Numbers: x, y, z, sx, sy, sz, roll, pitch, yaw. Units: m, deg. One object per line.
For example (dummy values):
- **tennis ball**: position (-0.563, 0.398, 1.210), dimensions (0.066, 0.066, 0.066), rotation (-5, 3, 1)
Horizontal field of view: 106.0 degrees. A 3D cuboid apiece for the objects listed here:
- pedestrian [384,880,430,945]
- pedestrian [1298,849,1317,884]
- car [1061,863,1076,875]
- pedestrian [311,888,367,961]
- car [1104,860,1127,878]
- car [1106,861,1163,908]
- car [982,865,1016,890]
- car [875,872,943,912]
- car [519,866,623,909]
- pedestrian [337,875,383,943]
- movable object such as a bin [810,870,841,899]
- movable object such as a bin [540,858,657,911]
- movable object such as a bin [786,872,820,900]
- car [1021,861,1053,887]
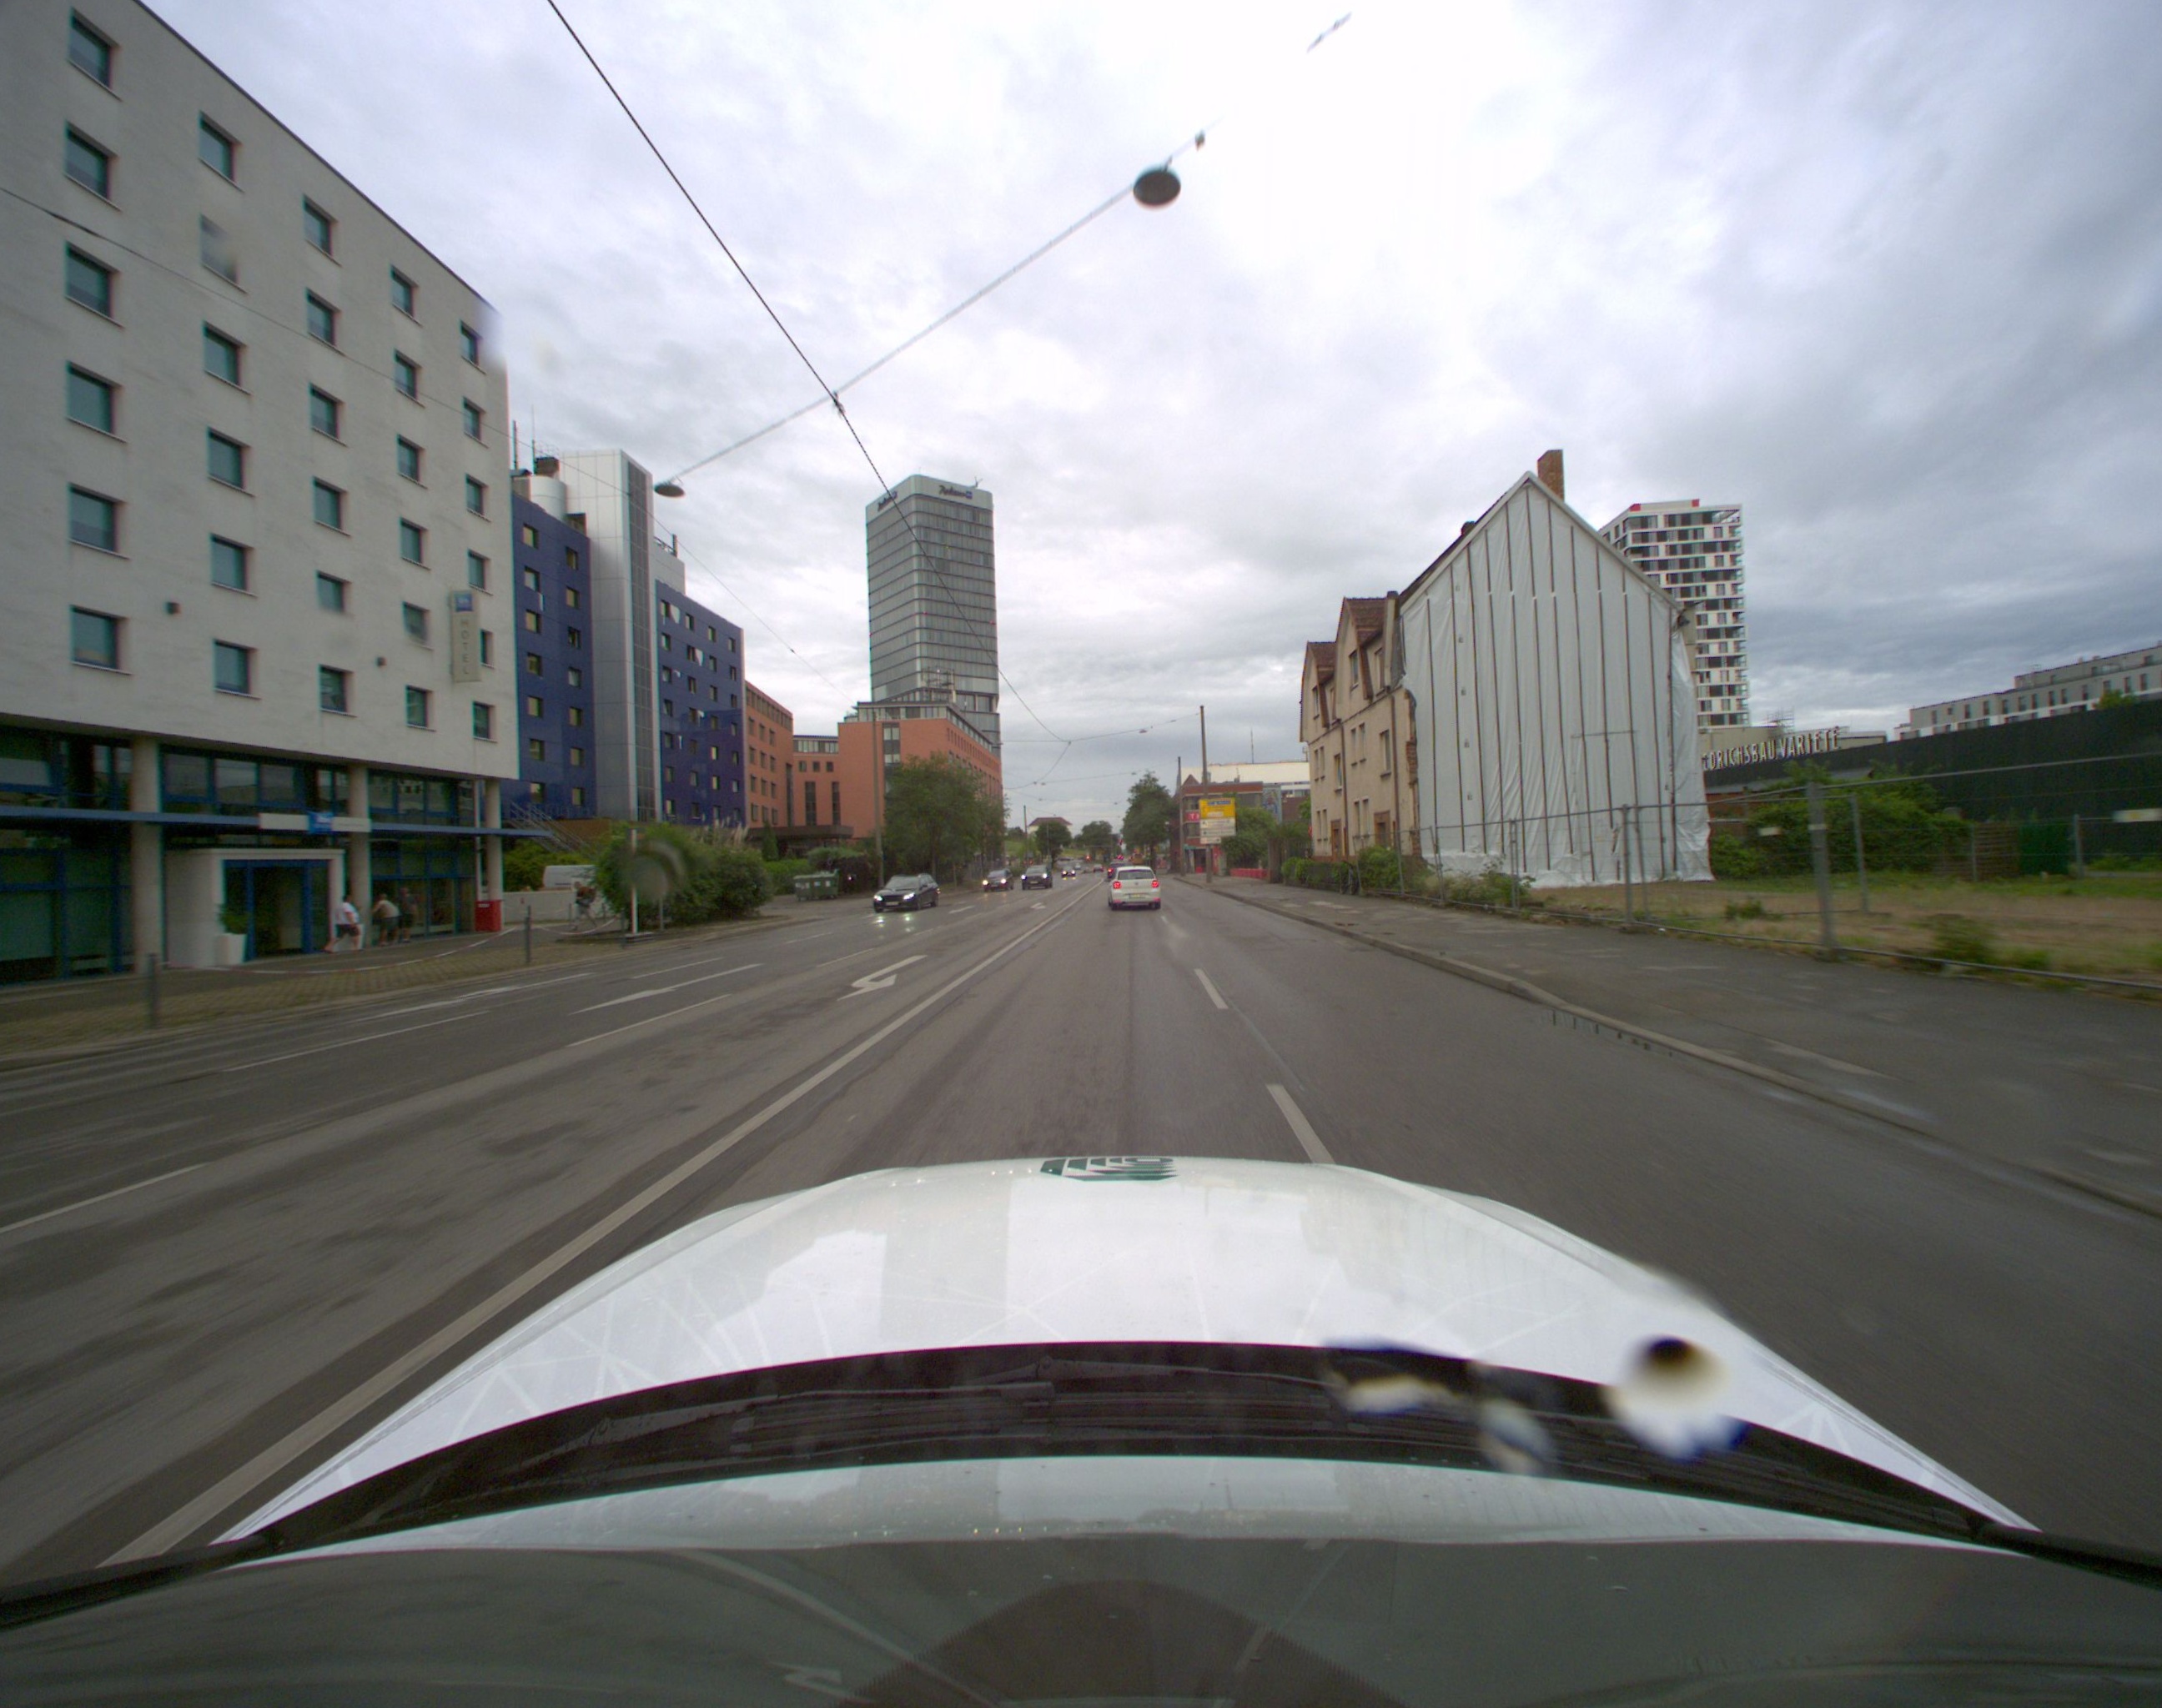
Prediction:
- **pedestrian**: position (-22.120, 1.910, 26.719), dimensions (0.804, 2.014, 0.907), rotation (-6, -3, 32)
- **pedestrian**: position (11.584, 0.612, 41.651), dimensions (0.904, 1.764, 0.770), rotation (-1, -1, 15)
- **car**: position (-1.711, 2.033, 110.377), dimensions (1.652, 1.486, 3.823), rotation (-3, -1, 3)
- **pedestrian**: position (-21.559, 2.041, 23.666), dimensions (0.798, 2.014, 0.816), rotation (-5, -3, 4)
- **car**: position (3.230, 1.366, 75.209), dimensions (1.985, 1.574, 4.003), rotation (-2, -1, 3)
- **car**: position (1.801, 1.025, 28.422), dimensions (1.666, 1.474, 3.777), rotation (-2, -1, -1)
- **car**: position (-5.986, 1.717, 59.698), dimensions (1.701, 1.566, 4.037), rotation (-5, 0, 3)
- **car**: position (-7.300, 1.587, 35.023), dimensions (1.726, 1.477, 4.701), rotation (-3, -1, 2)
- **car**: position (-28.975, 1.889, 46.354), dimensions (4.693, 2.014, 1.894), rotation (-5, -3, 3)
- **pedestrian**: position (-22.359, 1.713, 25.265), dimensions (0.816, 2.014, 0.798), rotation (-3, -3, -25)
- **movable object such as a bin**: position (-14.194, 1.720, 45.239), dimensions (1.389, 1.491, 0.949), rotation (-4, -3, -7)
- **movable object such as a bin**: position (-28.802, 1.823, 48.744), dimensions (5.603, 2.628, 2.163), rotation (-5, -3, 2)
- **movable object such as a bin**: position (-15.701, 1.809, 46.007), dimensions (1.380, 1.491, 0.955), rotation (-5, -3, 14)
- **car**: position (-3.096, 1.398, 58.185), dimensions (1.749, 1.555, 4.453), rotation (-5, 1, 2)
